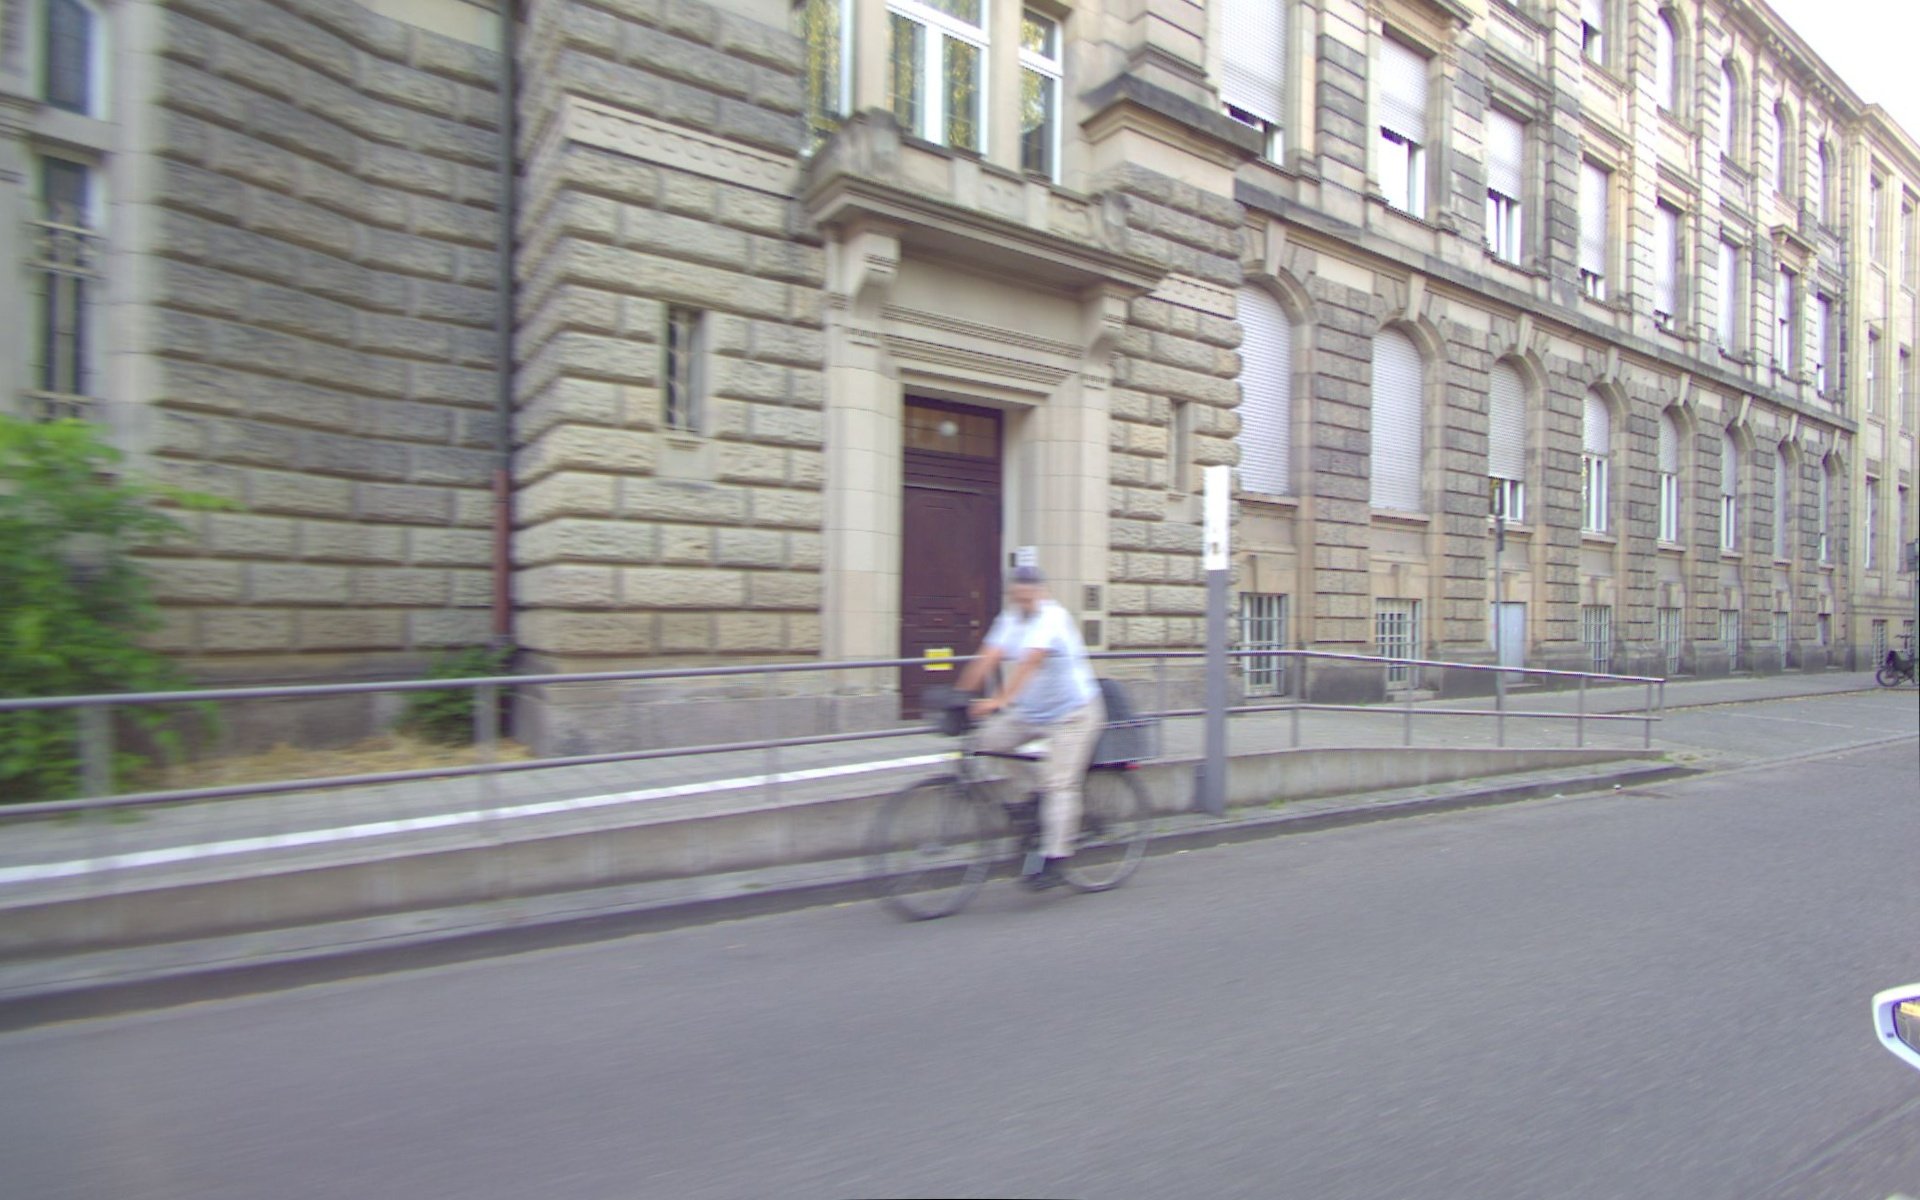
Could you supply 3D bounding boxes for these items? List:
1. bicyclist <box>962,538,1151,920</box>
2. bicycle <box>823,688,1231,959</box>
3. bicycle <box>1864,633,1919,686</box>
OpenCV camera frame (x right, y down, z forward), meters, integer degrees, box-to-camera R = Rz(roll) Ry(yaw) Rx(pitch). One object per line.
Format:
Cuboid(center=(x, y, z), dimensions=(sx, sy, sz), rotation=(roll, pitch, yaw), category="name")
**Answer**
Cuboid(center=(0.502, 0.629, 5.306), dimensions=(0.771, 1.831, 0.642), rotation=(1, -1, -30), category="bicyclist")
Cuboid(center=(0.401, 1.056, 5.243), dimensions=(2.128, 1.084, 0.659), rotation=(1, -1, -30), category="bicycle")
Cuboid(center=(21.506, 1.334, 22.849), dimensions=(1.959, 1.116, 0.848), rotation=(1, 1, -31), category="bicycle")
